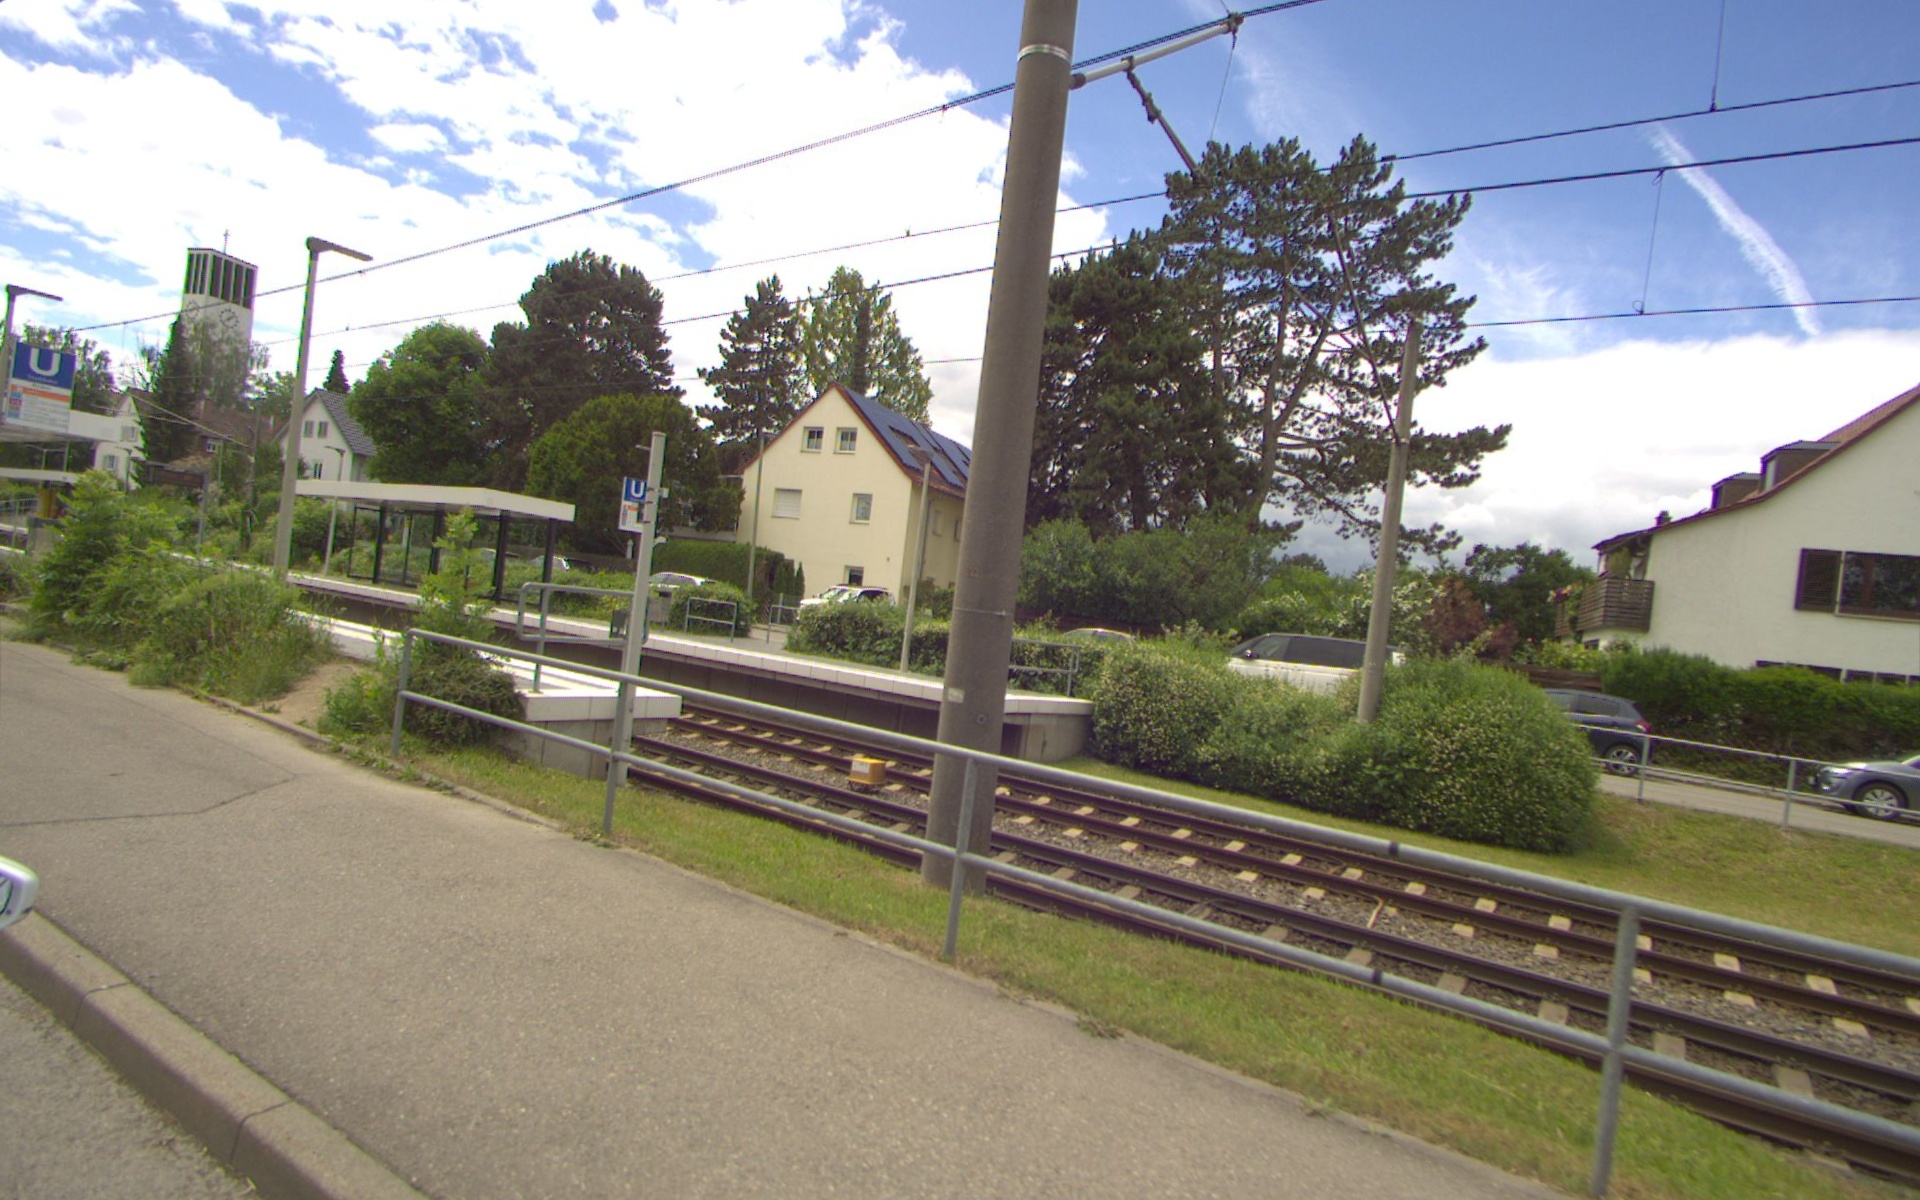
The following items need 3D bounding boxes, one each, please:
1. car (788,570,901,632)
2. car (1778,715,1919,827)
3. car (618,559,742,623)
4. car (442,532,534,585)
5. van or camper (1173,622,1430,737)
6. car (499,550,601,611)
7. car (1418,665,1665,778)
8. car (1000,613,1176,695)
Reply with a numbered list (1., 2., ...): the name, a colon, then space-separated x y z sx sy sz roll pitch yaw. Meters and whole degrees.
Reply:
1. car: -4.114 0.083 36.642 1.716 1.969 4.331 7 2 29
2. car: 16.214 2.973 16.606 3.937 1.540 1.884 7 -1 35
3. car: -9.844 -0.336 35.271 3.932 1.681 1.780 7 -1 30
4. car: -20.036 -1.774 42.627 3.874 1.772 1.733 7 -1 37
5. van or camper: 7.597 1.734 22.636 4.969 1.847 1.906 6 -1 36
6. car: -16.213 -0.797 39.728 3.873 1.935 1.735 6 -3 36
7. car: 11.466 2.335 19.913 3.938 1.540 1.884 6 -1 36
8. car: 3.258 1.380 25.902 3.938 1.540 1.884 6 -1 36
